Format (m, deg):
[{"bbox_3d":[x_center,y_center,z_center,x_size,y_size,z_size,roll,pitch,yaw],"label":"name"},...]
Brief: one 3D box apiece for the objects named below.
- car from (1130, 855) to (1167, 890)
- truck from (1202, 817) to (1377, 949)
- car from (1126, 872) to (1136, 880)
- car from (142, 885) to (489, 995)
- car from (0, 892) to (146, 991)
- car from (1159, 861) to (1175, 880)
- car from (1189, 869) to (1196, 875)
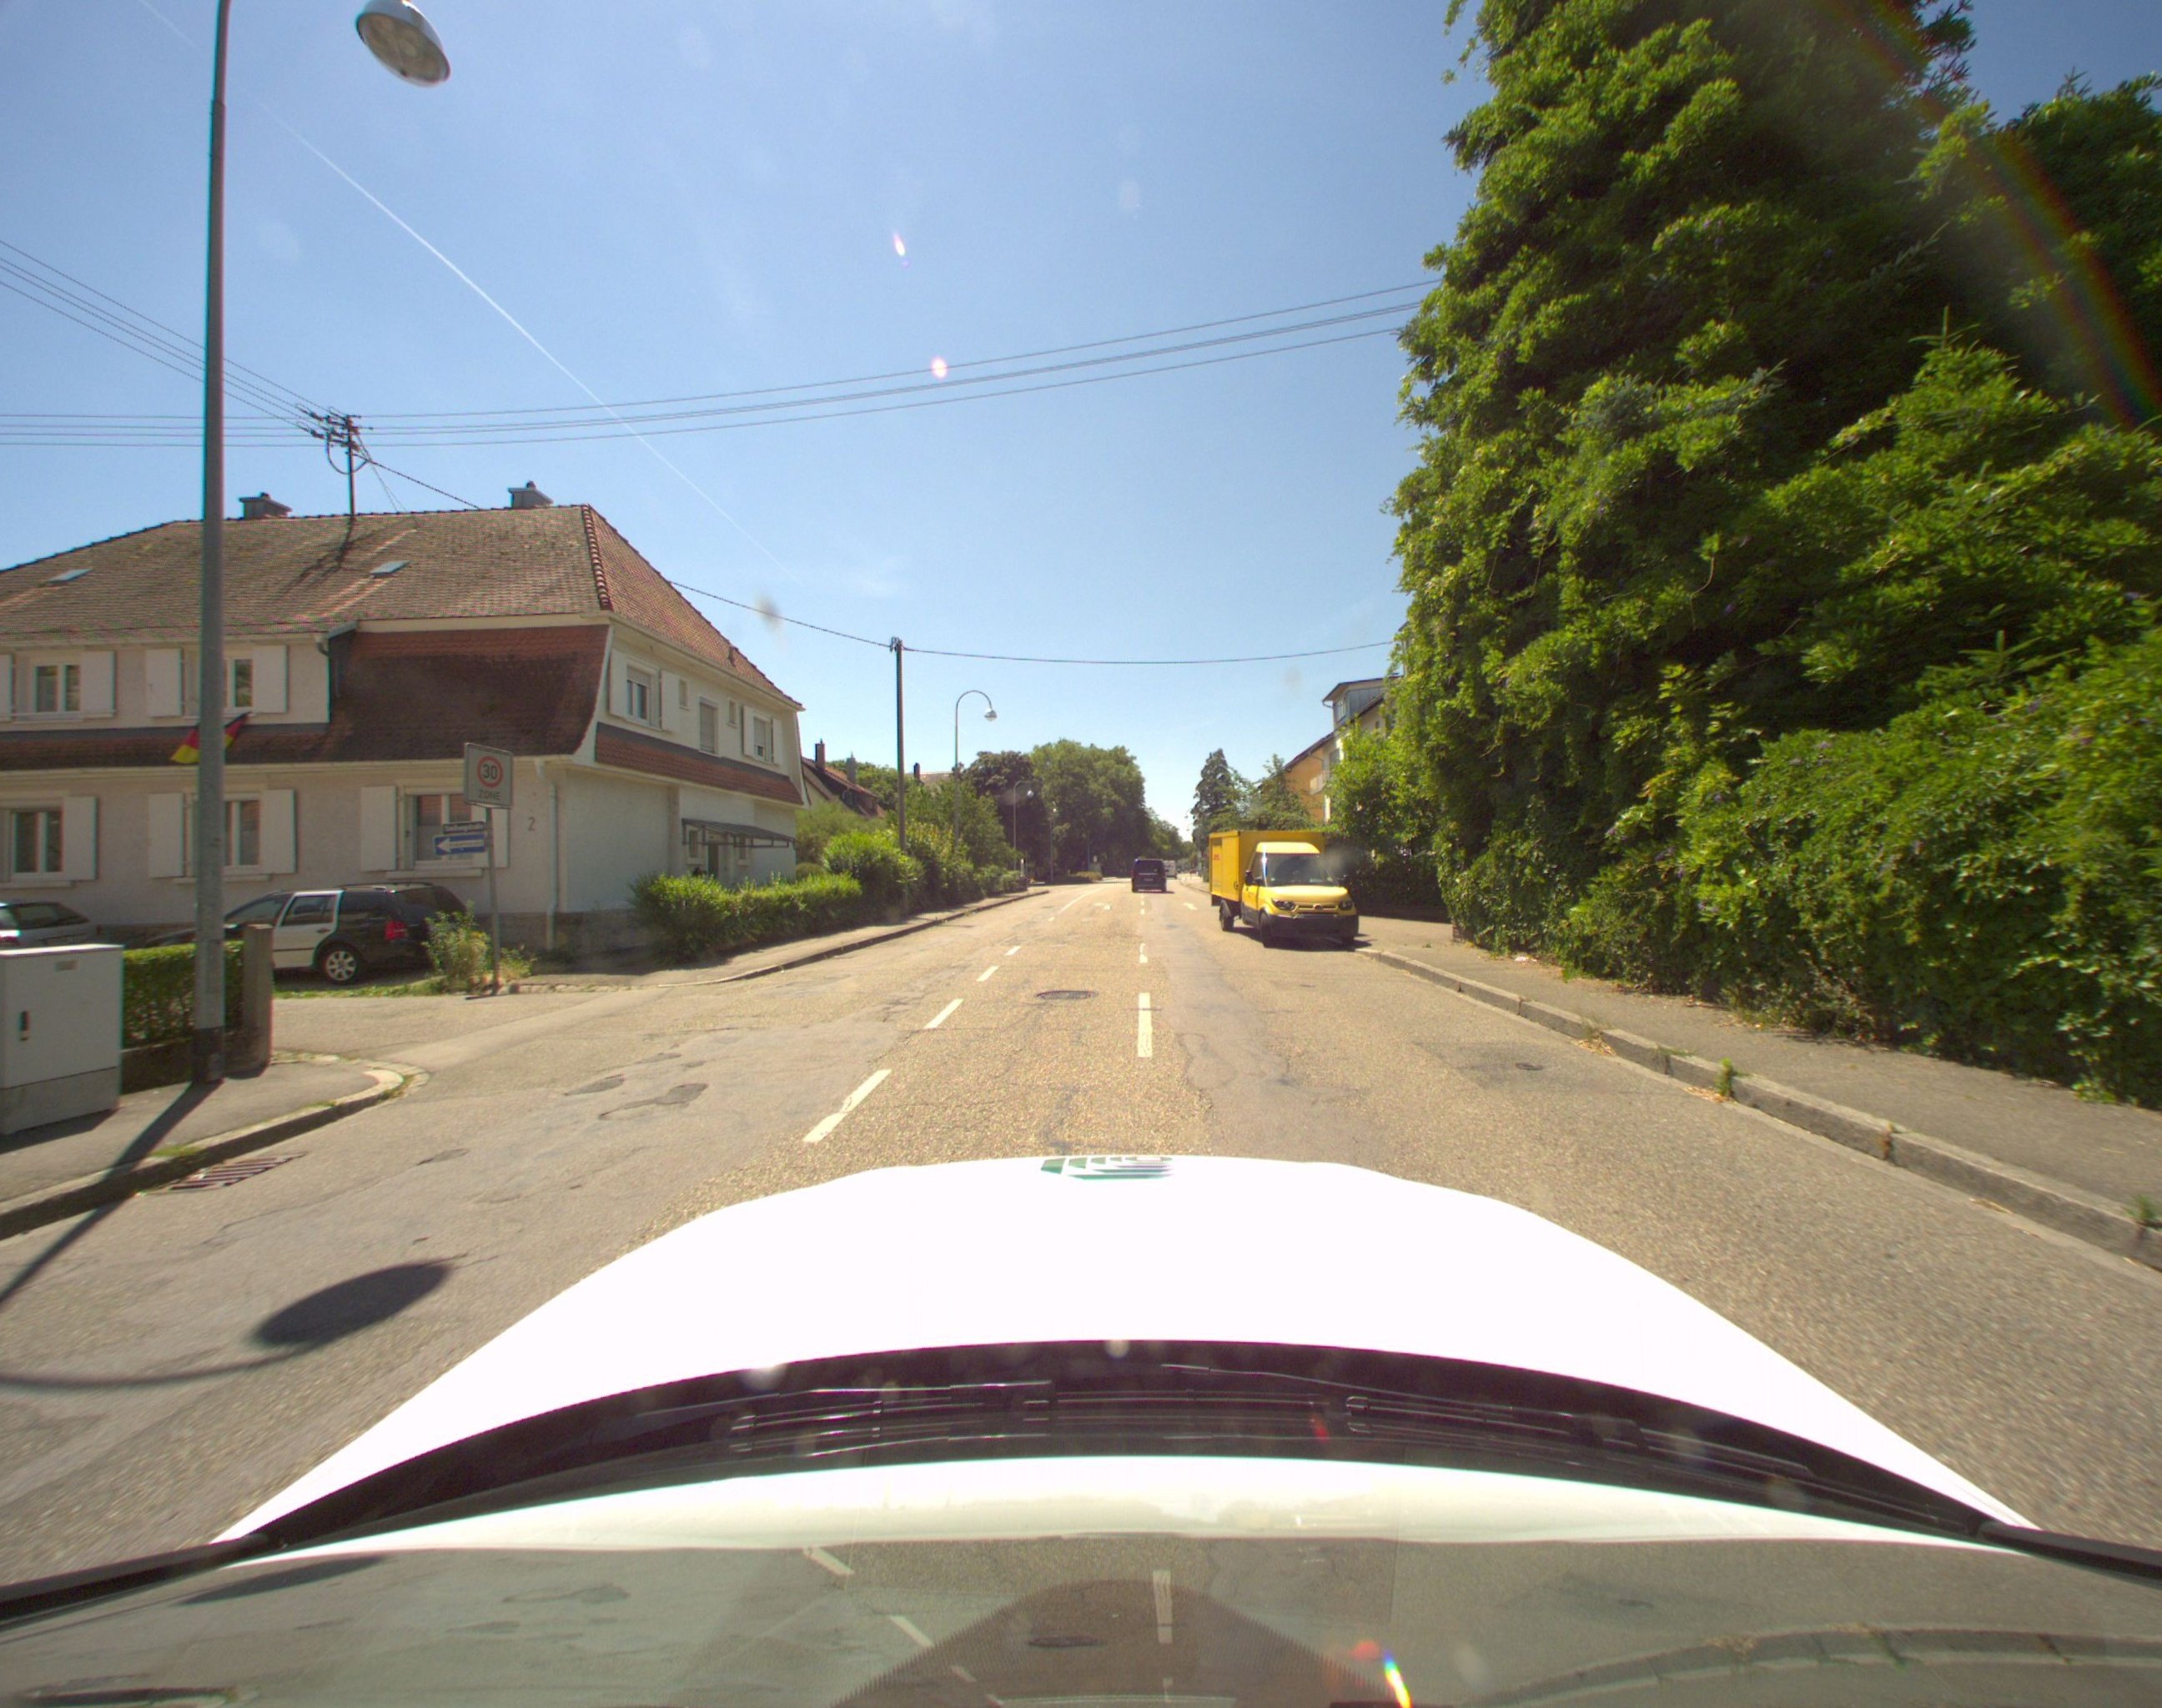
[{"bbox_3d":[3.739,1.012,45.346,1.985,1.893,4.004,0,-1,4],"label":"car"},{"bbox_3d":[4.154,0.549,17.470,2.008,2.309,6.171,1,-1,-2],"label":"truck"},{"bbox_3d":[9.027,3.929,146.447,1.542,1.450,3.697,0,-2,7],"label":"car"},{"bbox_3d":[-12.109,1.324,13.101,3.780,1.424,1.774,-2,0,-2],"label":"car"},{"bbox_3d":[-18.193,1.406,13.206,3.784,1.441,1.772,-1,-1,-5],"label":"car"},{"bbox_3d":[12.466,2.295,117.283,2.108,2.678,5.674,0,-1,8],"label":"car"},{"bbox_3d":[30.664,4.866,224.757,1.848,1.643,4.007,0,-1,6],"label":"car"}]
